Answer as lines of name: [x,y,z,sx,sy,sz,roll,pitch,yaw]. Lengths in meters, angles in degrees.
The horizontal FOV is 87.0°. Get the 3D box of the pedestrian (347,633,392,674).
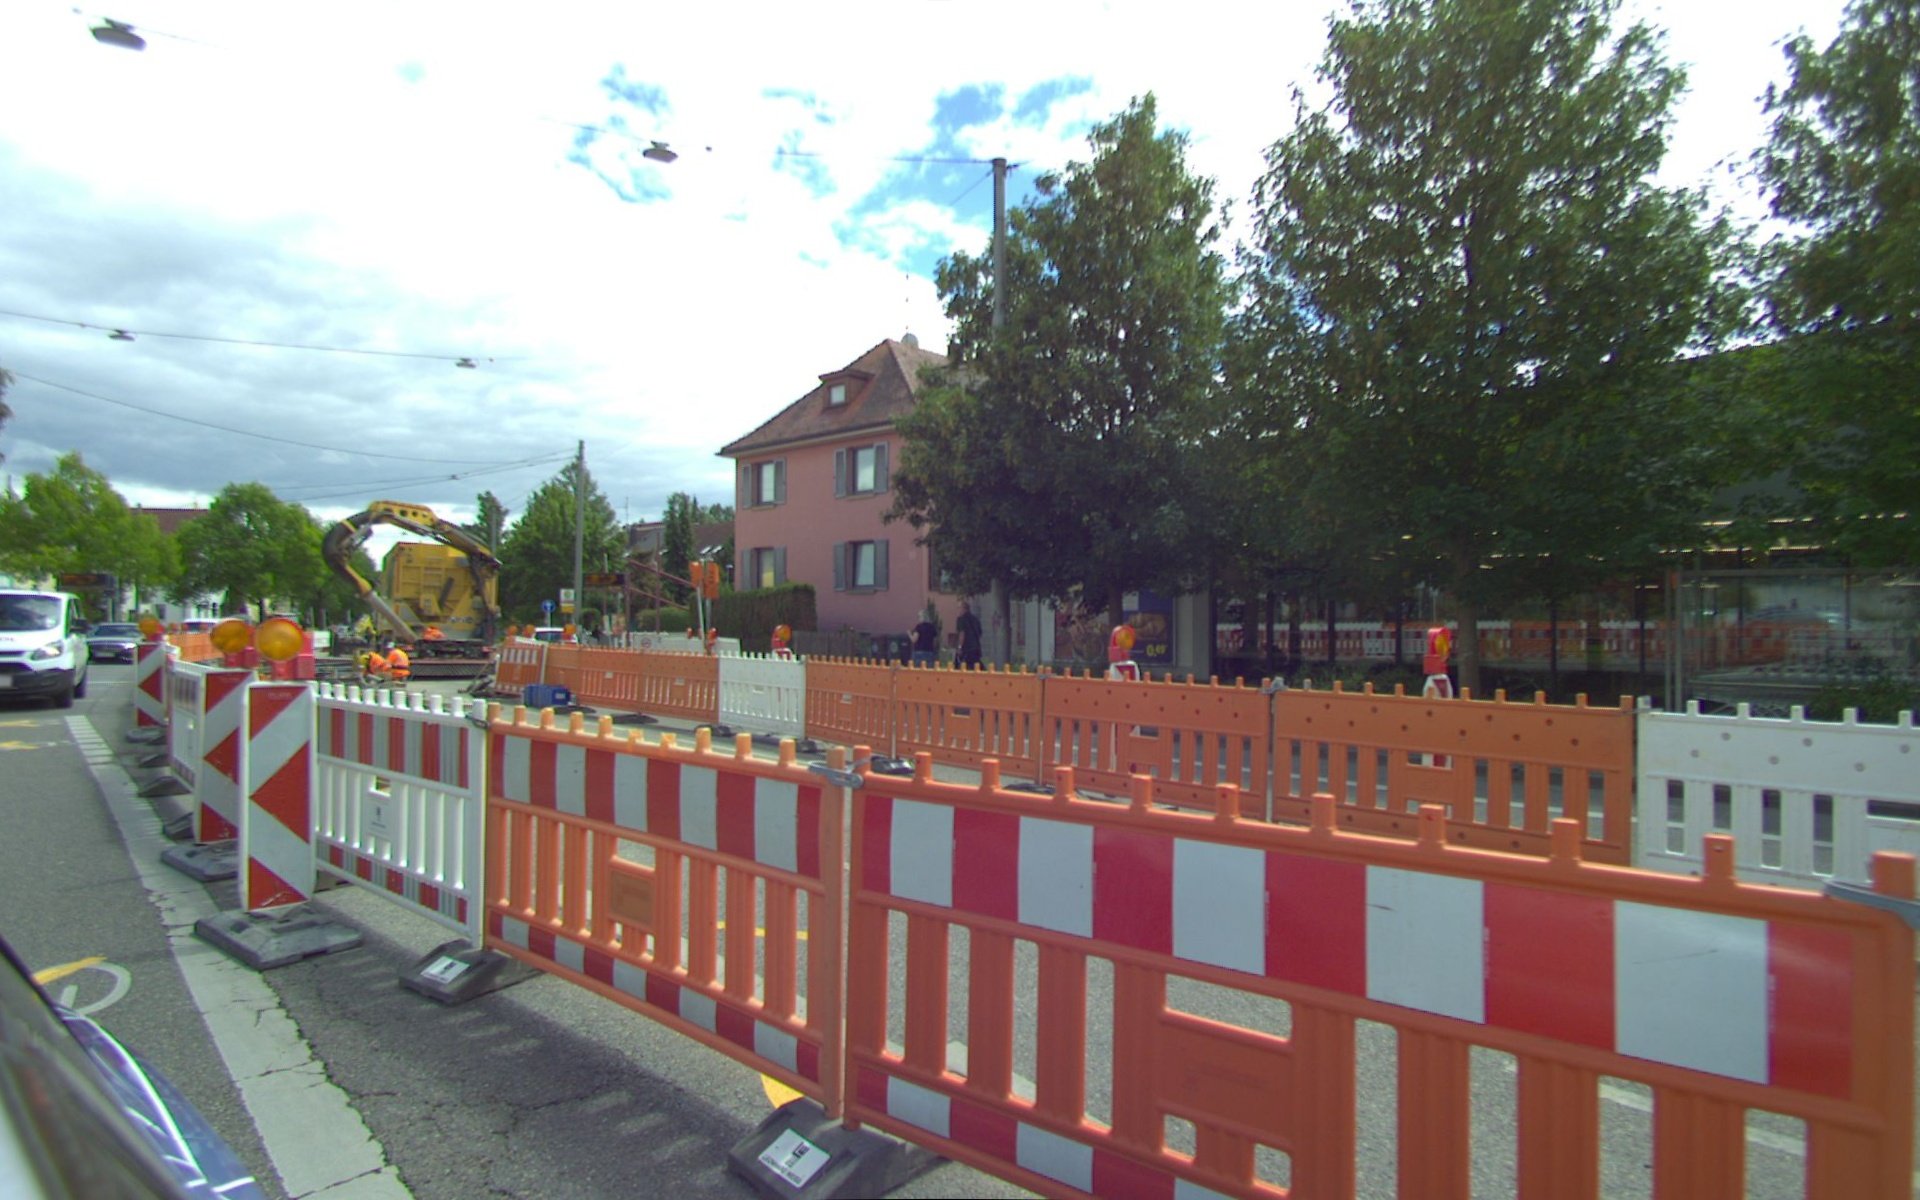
pedestrian: [-14.463,1.305,24.821,0.779,0.998,0.814,1,-2,-18]

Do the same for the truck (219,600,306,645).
truck: [-56.049,1.834,81.317,6.579,3.223,2.328,-4,-3,19]

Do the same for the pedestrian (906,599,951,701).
pedestrian: [-0.589,0.925,18.862,0.685,1.861,0.624,1,-2,-18]

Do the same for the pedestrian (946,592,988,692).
pedestrian: [0.125,0.787,19.135,0.616,1.861,0.624,1,-2,-18]

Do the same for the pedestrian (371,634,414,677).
pedestrian: [-13.505,1.304,24.087,0.632,0.998,0.794,1,-2,-8]

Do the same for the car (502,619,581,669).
car: [-13.376,1.351,32.190,1.828,1.464,4.012,0,-1,-30]

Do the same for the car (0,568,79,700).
car: [-16.742,0.557,17.583,1.970,2.029,5.518,0,0,-43]

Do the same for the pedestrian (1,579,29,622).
pedestrian: [-36.231,0.014,38.802,0.589,1.594,0.403,-5,3,-28]

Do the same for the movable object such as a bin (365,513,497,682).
movable object such as a bin: [-16.382,0.068,30.864,2.555,4.253,11.152,2,-2,-32]

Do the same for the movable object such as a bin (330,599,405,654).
movable object such as a bin: [-30.519,1.379,52.341,1.966,2.646,6.542,1,-2,-18]
